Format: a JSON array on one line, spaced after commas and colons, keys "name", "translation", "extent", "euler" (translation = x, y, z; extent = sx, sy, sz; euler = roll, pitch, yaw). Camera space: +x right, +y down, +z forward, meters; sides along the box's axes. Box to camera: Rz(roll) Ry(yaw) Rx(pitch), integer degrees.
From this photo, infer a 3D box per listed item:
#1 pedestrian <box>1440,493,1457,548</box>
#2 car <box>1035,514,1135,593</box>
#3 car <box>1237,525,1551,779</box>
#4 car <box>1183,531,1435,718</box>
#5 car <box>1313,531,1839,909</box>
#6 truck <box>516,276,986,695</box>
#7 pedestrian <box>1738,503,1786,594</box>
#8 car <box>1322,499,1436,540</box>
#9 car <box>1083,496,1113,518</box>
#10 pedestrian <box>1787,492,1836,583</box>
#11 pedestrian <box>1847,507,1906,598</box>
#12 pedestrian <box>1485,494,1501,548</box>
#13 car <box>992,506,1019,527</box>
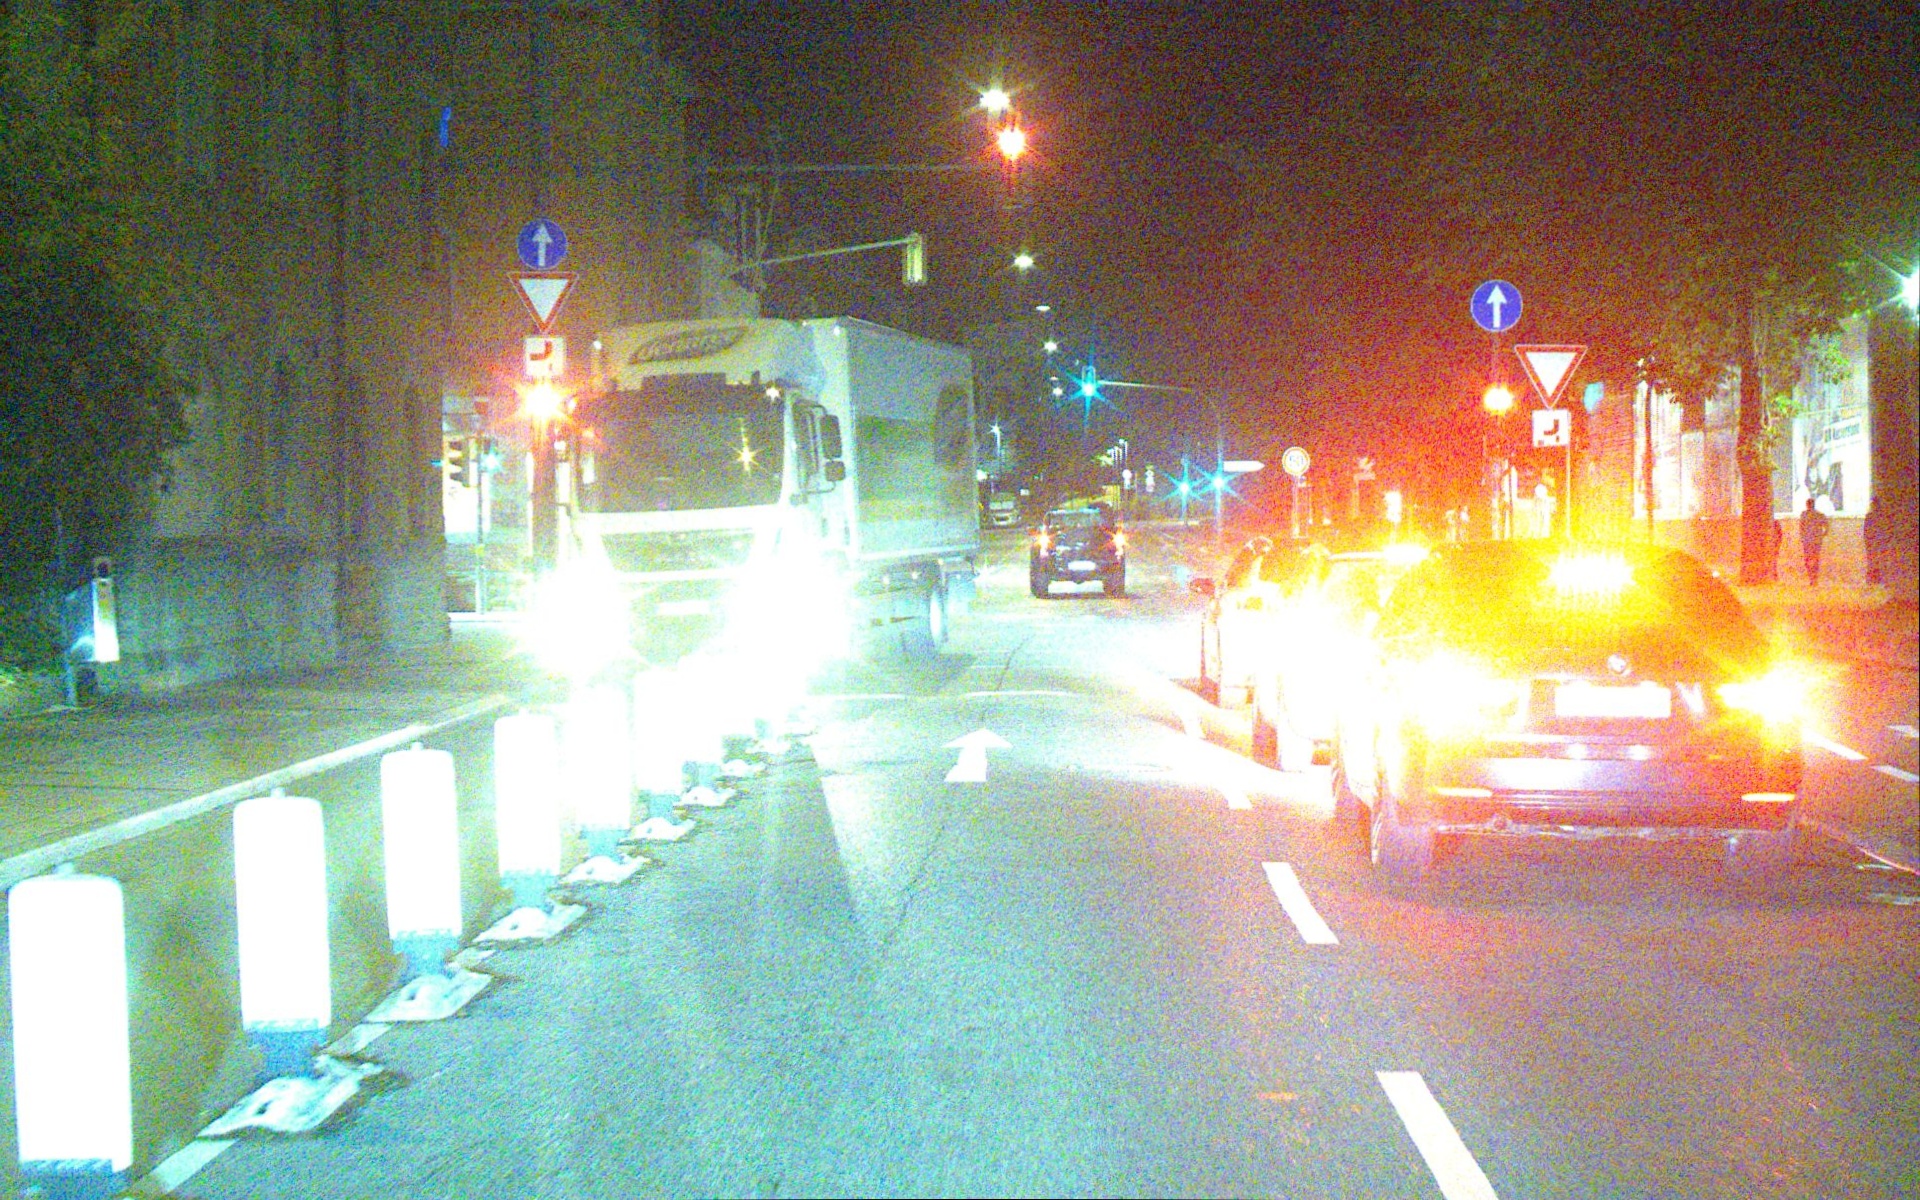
[{"name": "pedestrian", "translation": [18.097, -2.938, 127.406], "extent": [0.531, 2.007, 0.670], "euler": [-1, 1, 1]}, {"name": "car", "translation": [2.643, -1.009, 73.552], "extent": [1.993, 1.634, 4.000], "euler": [-1, 1, 0]}, {"name": "car", "translation": [2.771, 0.270, 22.672], "extent": [1.637, 1.489, 4.000], "euler": [1, 1, 2]}, {"name": "car", "translation": [2.896, 0.154, 29.276], "extent": [1.729, 1.430, 4.211], "euler": [1, 1, 1]}, {"name": "car", "translation": [2.743, 0.437, 16.333], "extent": [1.805, 1.489, 4.729], "euler": [1, 1, 2]}, {"name": "truck", "translation": [-1.872, -1.161, 36.187], "extent": [2.756, 3.705, 10.110], "euler": [-2, 1, 9]}, {"name": "pedestrian", "translation": [15.808, -1.024, 67.777], "extent": [0.714, 1.763, 0.907], "euler": [-1, 1, 2]}, {"name": "car", "translation": [15.142, -2.921, 124.397], "extent": [3.987, 1.381, 1.771], "euler": [-1, 2, 5]}, {"name": "car", "translation": [10.143, -6.798, 252.299], "extent": [1.993, 1.590, 4.000], "euler": [-1, 1, -1]}, {"name": "pedestrian", "translation": [16.842, -1.235, 68.009], "extent": [0.739, 1.763, 0.907], "euler": [-1, 1, 2]}, {"name": "pedestrian", "translation": [18.146, -0.939, 68.086], "extent": [0.901, 1.763, 0.907], "euler": [-1, 1, 2]}, {"name": "pedestrian", "translation": [19.747, -2.930, 127.261], "extent": [0.488, 2.007, 0.551], "euler": [-1, 1, 1]}, {"name": "car", "translation": [3.168, -5.765, 237.953], "extent": [1.777, 1.385, 4.000], "euler": [-1, 2, 0]}]
